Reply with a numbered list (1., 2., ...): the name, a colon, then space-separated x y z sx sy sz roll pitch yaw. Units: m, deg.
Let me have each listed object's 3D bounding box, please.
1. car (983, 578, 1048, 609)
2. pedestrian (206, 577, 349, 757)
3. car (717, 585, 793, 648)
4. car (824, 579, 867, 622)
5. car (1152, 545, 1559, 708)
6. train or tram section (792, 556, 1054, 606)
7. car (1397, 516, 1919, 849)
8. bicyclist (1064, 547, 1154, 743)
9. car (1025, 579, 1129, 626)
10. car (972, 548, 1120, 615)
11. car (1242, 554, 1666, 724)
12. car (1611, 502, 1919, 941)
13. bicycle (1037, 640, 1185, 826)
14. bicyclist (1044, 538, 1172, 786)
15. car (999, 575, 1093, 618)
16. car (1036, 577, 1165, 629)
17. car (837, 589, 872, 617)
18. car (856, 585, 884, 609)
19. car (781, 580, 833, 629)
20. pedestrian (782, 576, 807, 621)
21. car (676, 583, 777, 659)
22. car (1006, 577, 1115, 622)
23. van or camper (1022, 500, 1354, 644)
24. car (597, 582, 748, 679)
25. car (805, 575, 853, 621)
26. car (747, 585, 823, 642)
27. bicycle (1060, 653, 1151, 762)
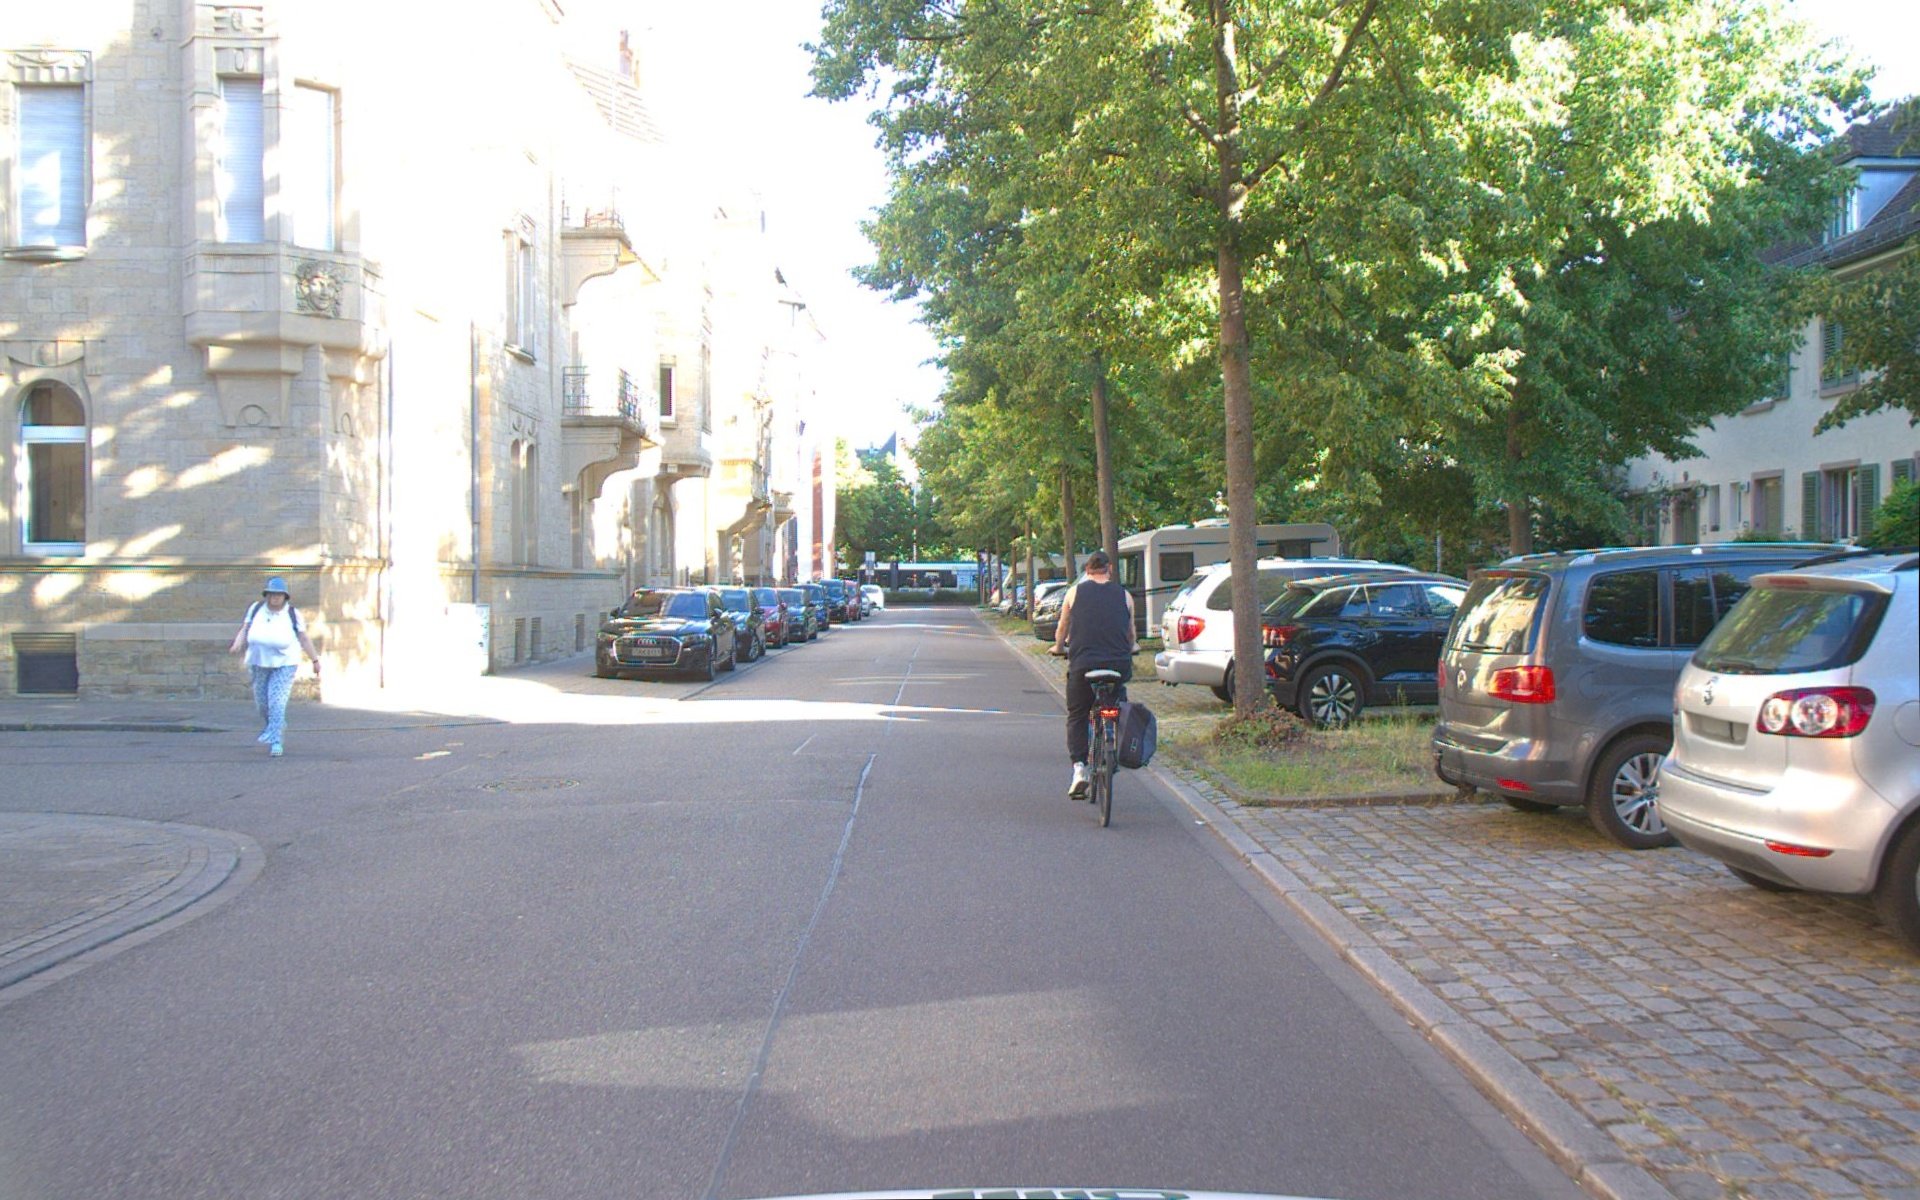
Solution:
1. car: 3.482 -0.404 104.180 3.907 1.835 1.833 1 0 -3
2. pedestrian: -6.423 0.605 15.614 0.870 1.604 1.053 -1 1 -1
3. car: -5.097 0.377 41.504 1.596 1.478 3.836 1 1 -3
4. car: -5.290 -0.001 76.612 1.654 1.857 4.273 2 1 0
5. car: 4.741 0.301 20.319 4.524 1.739 1.833 -2 0 1
6. train or tram section: -3.093 -1.652 147.587 23.483 3.773 4.255 1 0 -23
7. car: 5.161 0.366 10.016 4.452 1.662 1.810 -3 0 -7
8. bicyclist: 1.309 0.384 14.713 0.675 1.655 0.998 2 0 1
9. car: 4.261 0.103 60.738 3.695 1.628 1.691 -1 -2 1
10. car: 4.218 -0.915 81.865 7.005 3.030 2.463 -2 0 -4
11. car: 5.183 0.378 17.719 3.985 1.502 1.694 -3 1 0
12. car: 5.273 0.354 7.156 4.184 1.662 1.691 -3 0 2
13. bicycle: 0.963 0.834 11.019 0.722 1.072 1.955 2 0 -2
14. bicyclist: 0.976 0.405 11.092 0.715 1.574 0.884 2 -1 -2
15. car: 3.855 -0.159 74.571 4.001 1.678 1.640 -3 0 -3
16. car: 4.607 0.118 54.604 4.136 1.628 1.691 -1 -2 1
17. car: -5.575 0.137 87.535 1.551 1.367 4.131 2 1 0
18. car: -5.706 -0.184 105.053 1.551 1.399 4.131 2 1 0
19. car: -5.212 0.130 56.563 1.564 1.514 2.736 3 1 -2
20. pedestrian: -6.601 -0.048 65.999 0.919 1.773 0.735 1 0 0
21. car: -4.801 0.414 34.432 1.662 1.479 4.026 0 0 -2
22. car: 3.800 -0.025 63.083 4.053 1.628 1.702 -1 -2 1
23. van or camper: 4.981 -0.620 37.077 7.000 2.693 2.465 -3 0 1
24. car: -4.819 0.471 28.388 1.774 1.451 4.897 2 0 -1
25. car: -5.479 -0.112 69.623 1.607 1.814 4.354 2 1 0
26. car: -4.930 0.353 47.172 1.641 1.455 4.550 2 1 0
27. bicycle: 1.265 0.925 14.639 0.620 0.813 1.832 -1 1 -1
